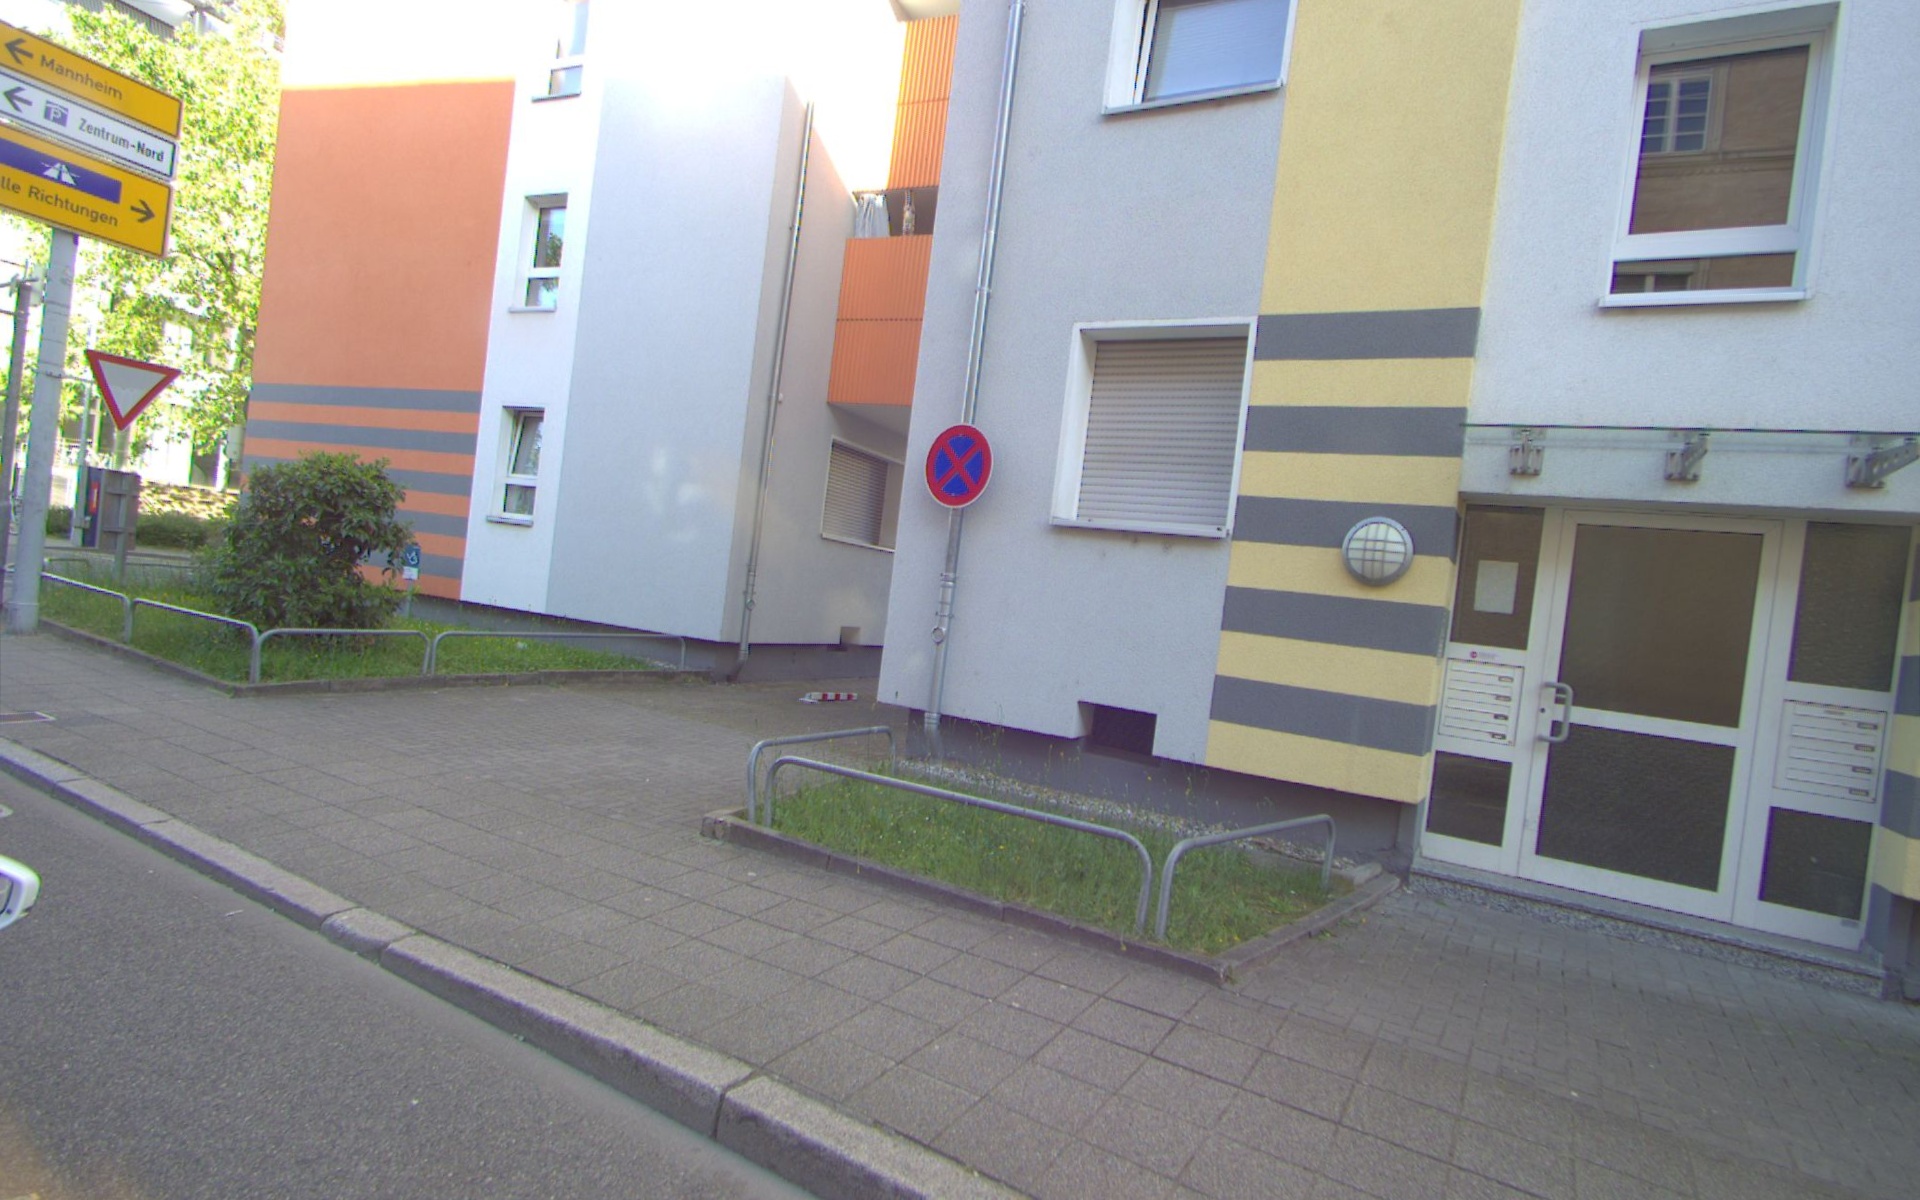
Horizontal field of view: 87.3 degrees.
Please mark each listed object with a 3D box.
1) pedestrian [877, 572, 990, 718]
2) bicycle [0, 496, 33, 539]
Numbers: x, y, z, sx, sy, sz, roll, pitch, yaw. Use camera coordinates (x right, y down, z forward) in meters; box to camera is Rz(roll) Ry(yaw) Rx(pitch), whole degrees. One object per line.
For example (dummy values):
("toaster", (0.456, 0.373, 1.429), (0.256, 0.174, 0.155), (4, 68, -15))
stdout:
("pedestrian", (-0.312, 0.530, 12.084), (0.941, 1.594, 0.748), (7, 2, 31))
("bicycle", (-26.416, -2.333, 27.270), (1.883, 1.062, 0.463), (7, 1, -10))
